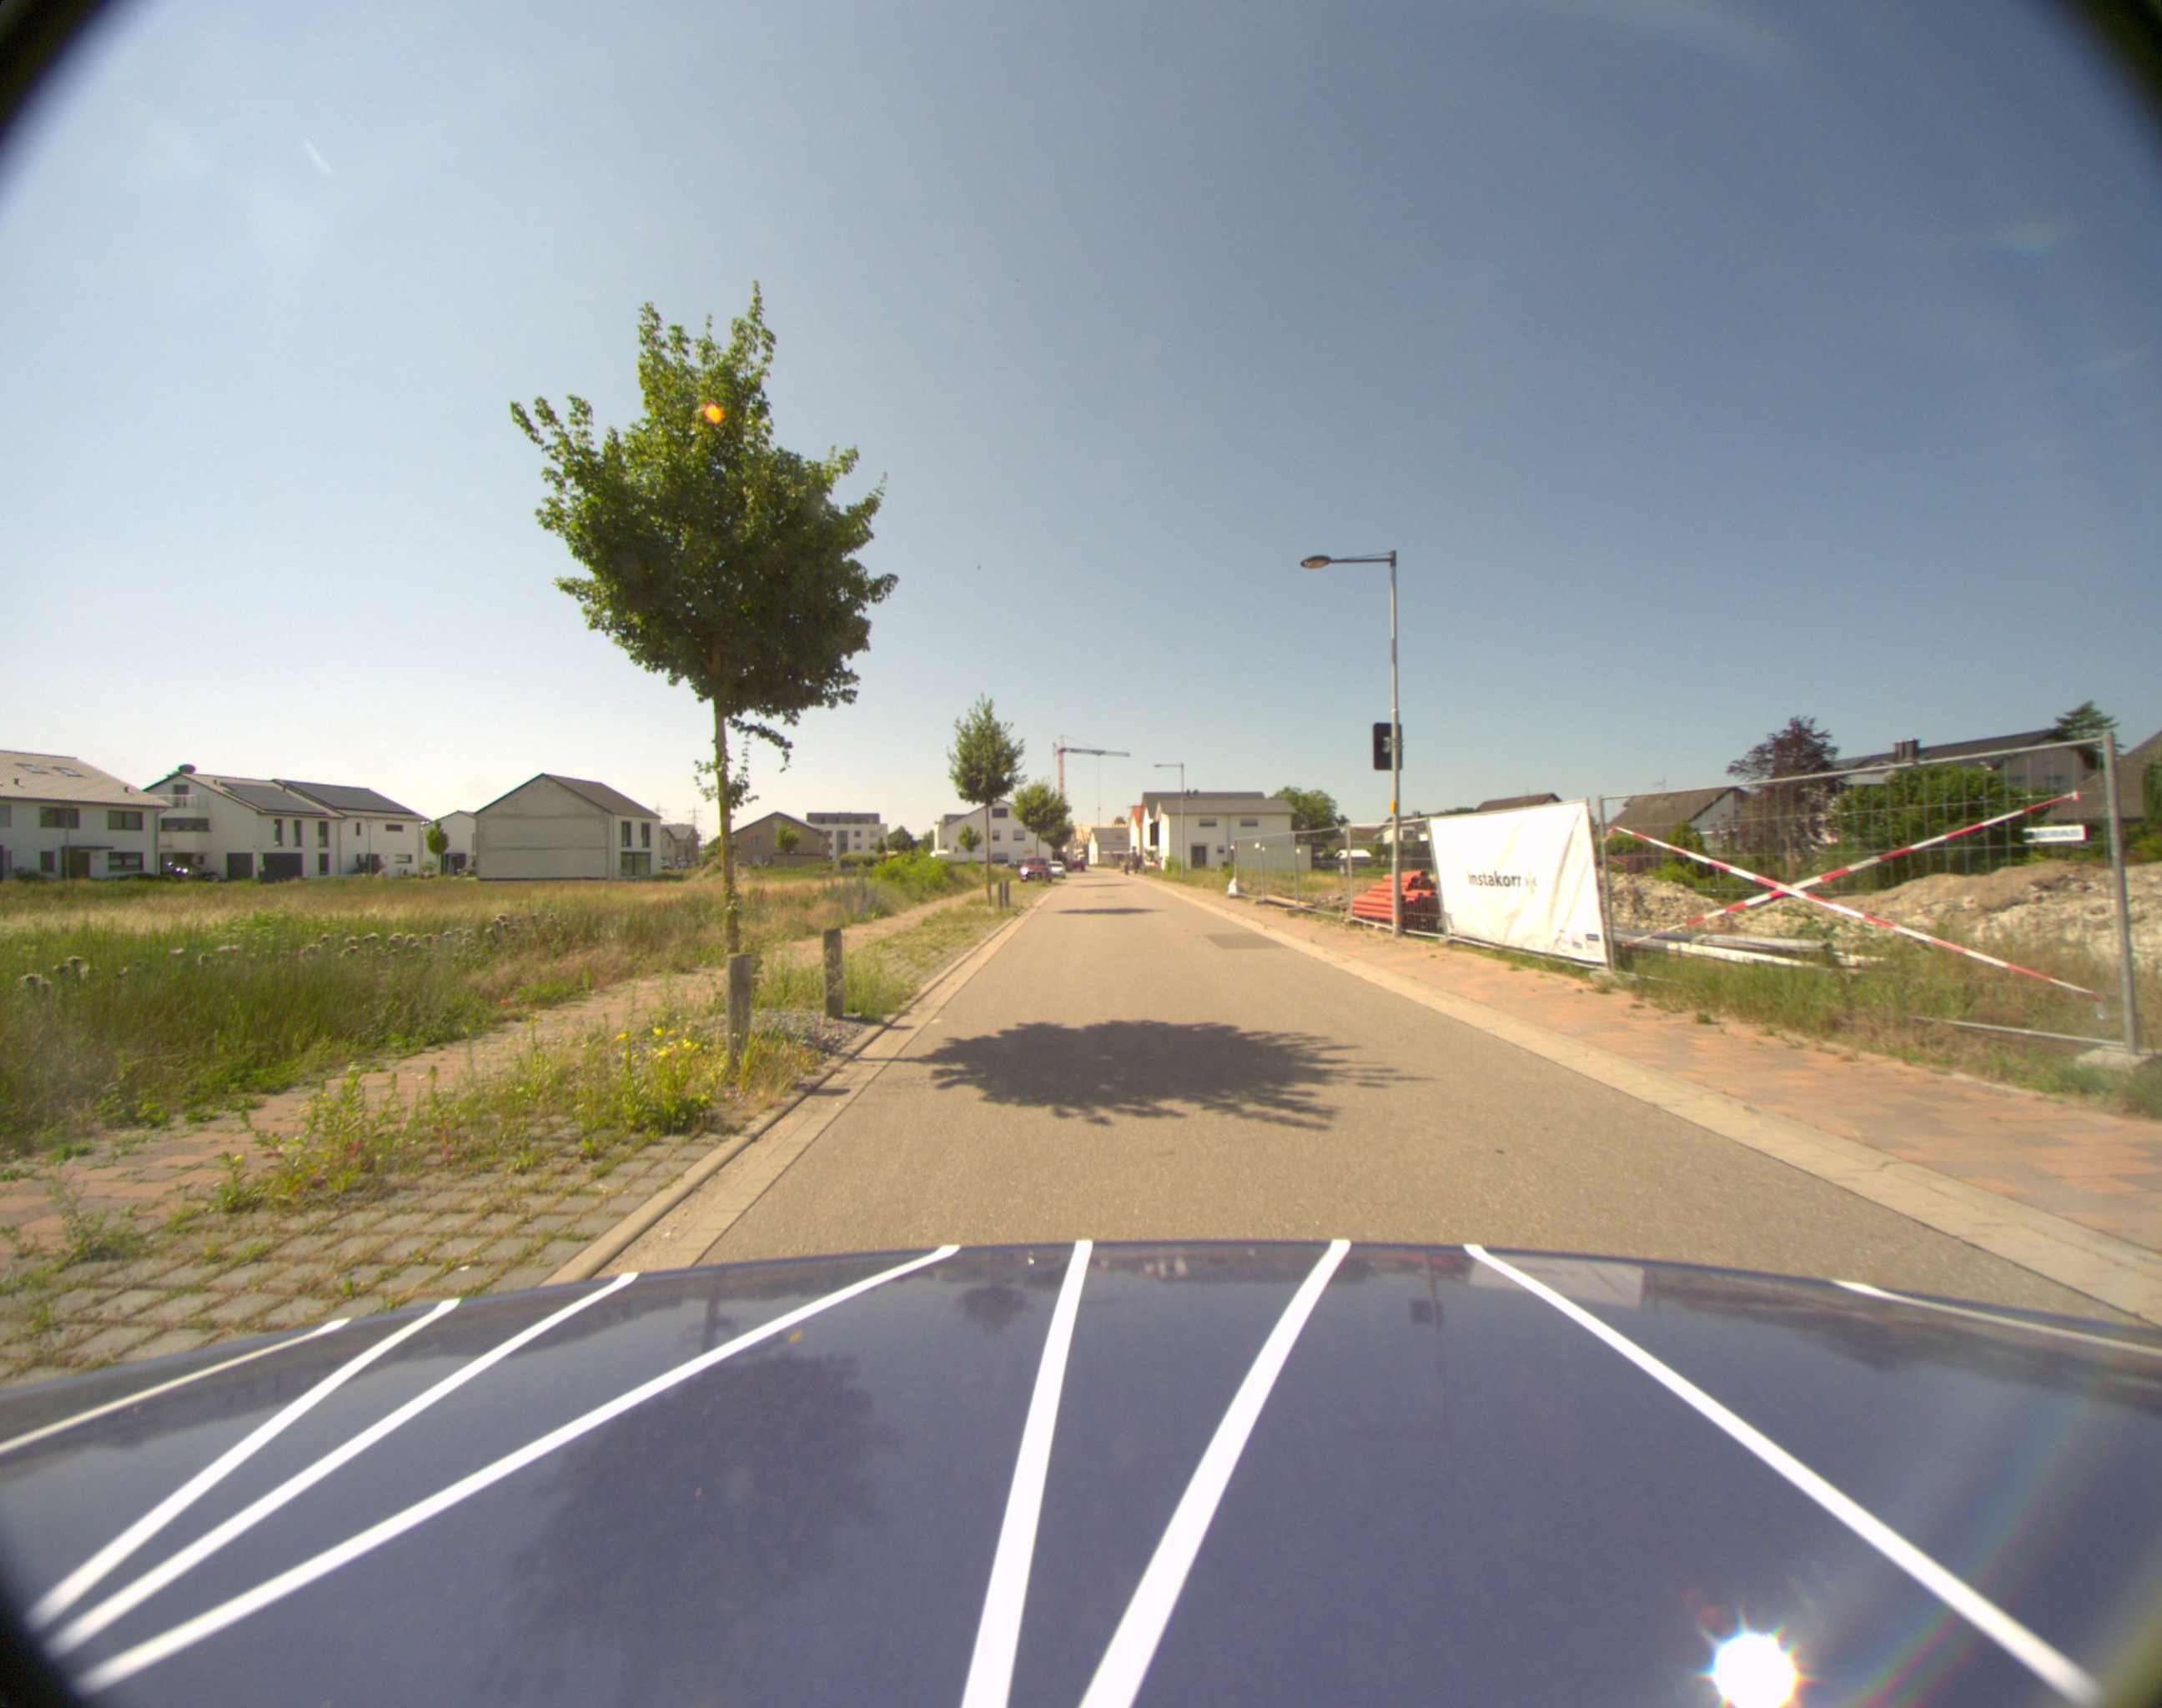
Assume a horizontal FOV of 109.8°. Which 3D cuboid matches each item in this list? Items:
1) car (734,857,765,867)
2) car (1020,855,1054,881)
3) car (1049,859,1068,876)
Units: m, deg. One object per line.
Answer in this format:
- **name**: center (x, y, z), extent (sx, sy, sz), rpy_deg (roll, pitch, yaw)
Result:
- **car**: center (-50.603, 1.283, 115.877), extent (4.000, 1.444, 1.633), rpy_deg (-1, 0, -8)
- **car**: center (-2.663, 0.831, 46.754), extent (1.769, 1.483, 4.000), rpy_deg (-1, 0, 0)
- **car**: center (-1.954, 1.191, 66.269), extent (1.493, 1.389, 3.272), rpy_deg (-1, 0, 0)
